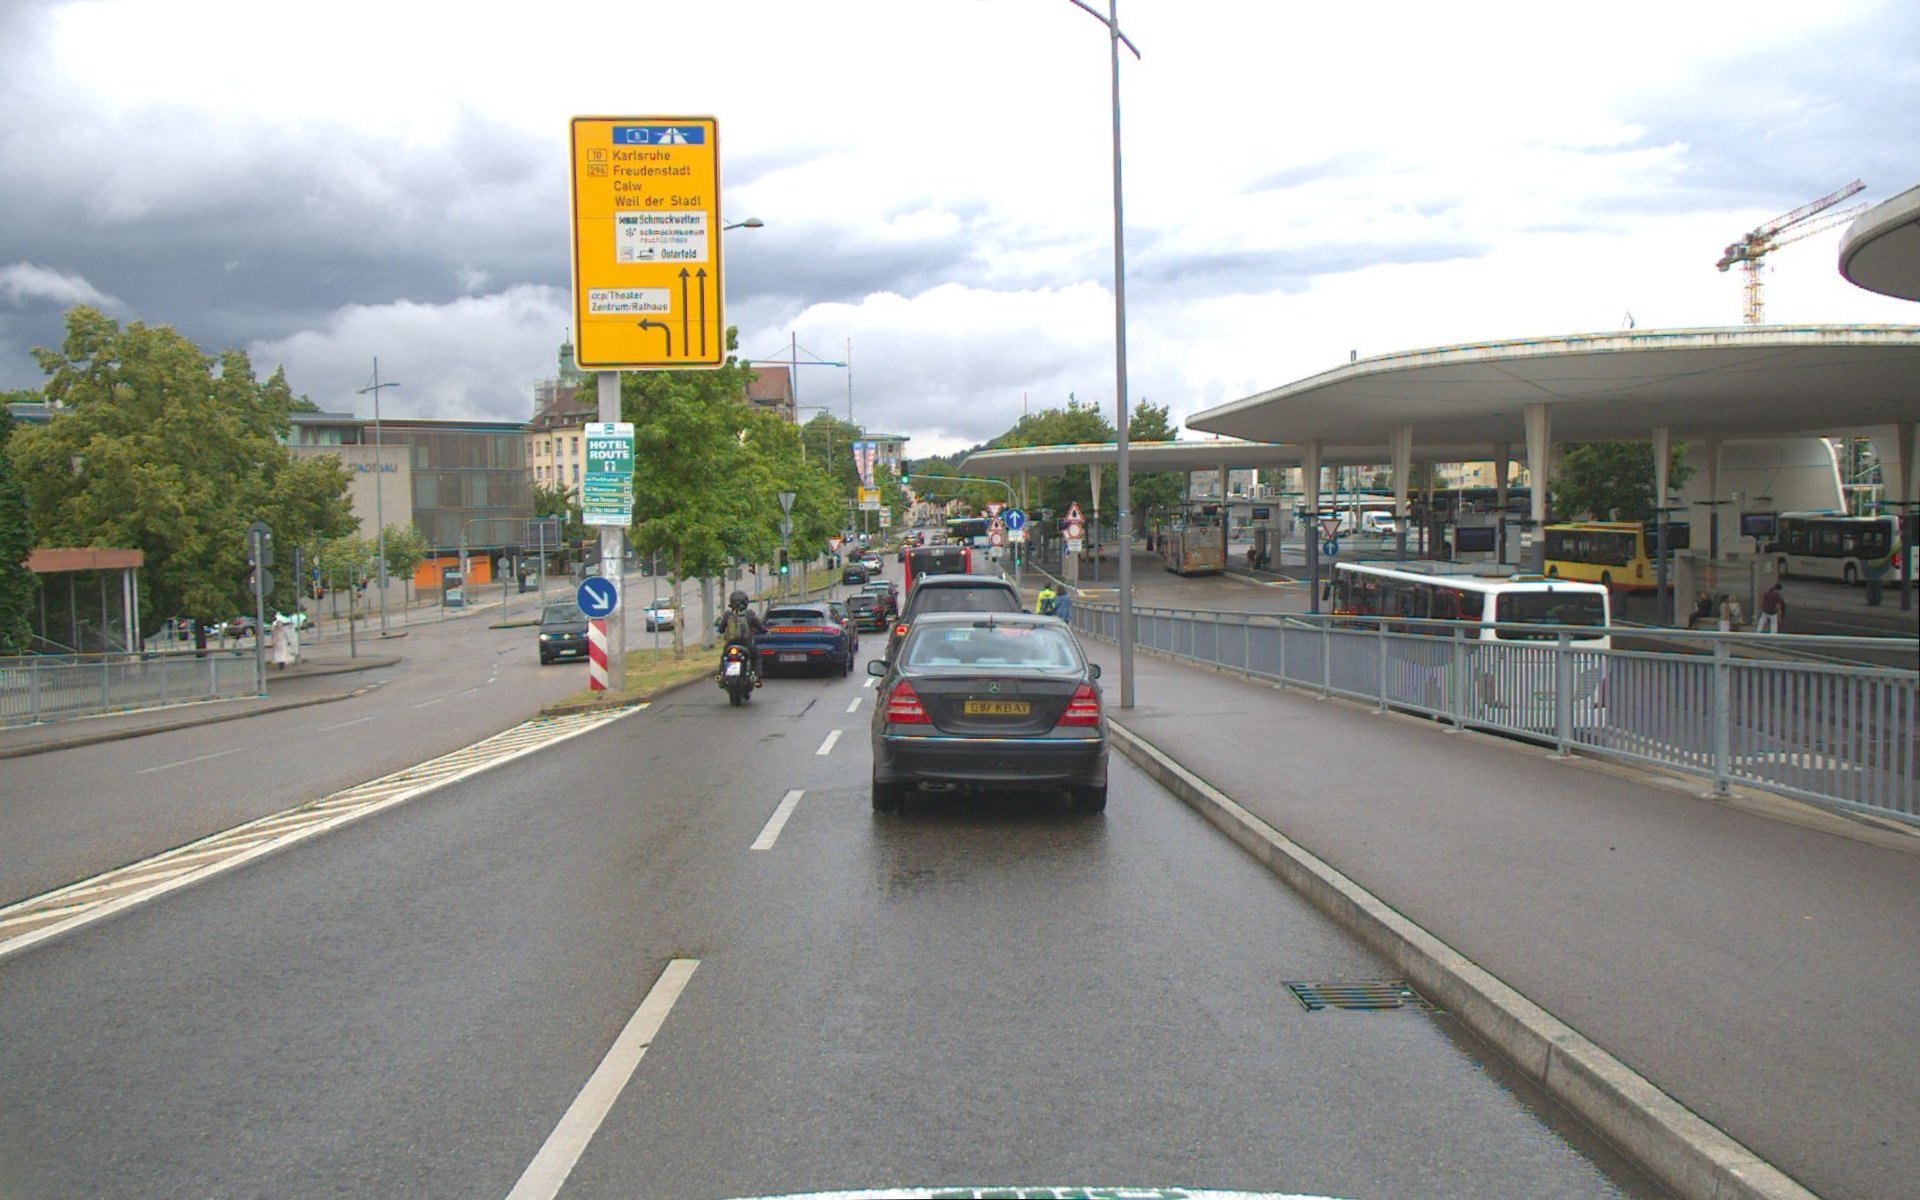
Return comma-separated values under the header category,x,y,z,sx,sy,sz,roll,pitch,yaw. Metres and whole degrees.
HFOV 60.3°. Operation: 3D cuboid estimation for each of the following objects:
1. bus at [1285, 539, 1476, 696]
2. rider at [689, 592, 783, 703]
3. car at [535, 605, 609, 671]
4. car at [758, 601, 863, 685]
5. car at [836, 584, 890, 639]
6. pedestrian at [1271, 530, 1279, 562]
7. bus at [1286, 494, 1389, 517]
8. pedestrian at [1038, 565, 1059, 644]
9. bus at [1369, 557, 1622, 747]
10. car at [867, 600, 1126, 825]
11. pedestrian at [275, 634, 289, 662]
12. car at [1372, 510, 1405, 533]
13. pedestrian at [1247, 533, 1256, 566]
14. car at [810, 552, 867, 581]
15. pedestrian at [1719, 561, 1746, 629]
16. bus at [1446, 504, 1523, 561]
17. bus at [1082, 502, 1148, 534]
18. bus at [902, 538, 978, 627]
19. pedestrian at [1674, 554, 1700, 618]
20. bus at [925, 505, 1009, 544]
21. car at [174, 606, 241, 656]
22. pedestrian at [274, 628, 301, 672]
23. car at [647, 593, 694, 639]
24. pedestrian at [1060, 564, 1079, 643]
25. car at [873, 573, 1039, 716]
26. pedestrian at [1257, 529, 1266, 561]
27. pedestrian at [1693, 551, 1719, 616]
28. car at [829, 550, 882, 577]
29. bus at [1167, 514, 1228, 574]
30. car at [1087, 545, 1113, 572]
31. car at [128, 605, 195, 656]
category,x,y,z,sx,sy,sz,roll,pitch,yaw
bus,10.470,0.274,41.948,2.594,3.291,7.069,-2,4,-4
rider,-3.192,0.645,23.784,0.862,1.497,2.197,1,1,5
car,-12.868,1.237,55.069,1.956,2.049,4.195,-2,-1,-8
car,-2.852,0.790,32.237,1.724,1.461,4.000,0,1,-1
car,-3.737,0.422,64.376,1.953,2.041,3.999,0,1,-2
pedestrian,20.079,-3.434,105.465,0.415,2.049,0.483,-1,-2,1
bus,38.023,-9.531,166.729,9.967,2.048,2.168,-1,1,-4
pedestrian,2.334,0.132,43.475,0.479,2.049,0.470,-1,-2,1
bus,11.030,0.895,34.855,2.594,3.292,7.068,-2,3,-4
car,0.301,0.725,12.538,1.670,1.444,3.727,0,0,2
pedestrian,-22.524,1.591,54.935,0.294,0.888,0.298,-1,2,2
car,39.956,-7.280,154.404,1.953,2.048,4.000,-2,2,-1
pedestrian,17.812,-3.082,100.932,0.415,2.049,0.483,-1,1,1
car,-8.814,-2.436,120.198,3.903,2.048,2.001,-1,1,3
pedestrian,23.431,-0.156,50.162,0.549,2.049,0.483,-1,1,1
bus,32.080,-4.123,101.370,2.546,3.265,6.996,-1,2,1
bus,17.540,-9.296,187.480,7.057,3.455,3.079,-2,2,-5
bus,-0.834,-0.682,65.329,2.770,3.245,10.307,0,1,-1
pedestrian,23.714,-0.459,53.948,0.532,2.049,0.579,-1,1,0
bus,0.686,-8.344,181.380,3.235,4.076,10.743,-5,5,-38
car,-35.432,1.442,77.869,1.979,2.048,3.948,3,1,-37
pedestrian,-22.370,1.661,55.015,0.634,1.433,0.531,-1,2,2
car,-13.715,0.768,78.561,1.956,2.049,4.195,-2,-1,-8
pedestrian,2.878,0.096,43.533,0.415,2.049,0.483,-1,-2,1
car,0.045,0.513,22.001,1.788,1.716,4.003,0,1,6
pedestrian,19.853,-3.616,108.909,0.415,2.049,0.483,-1,1,1
pedestrian,23.670,-0.532,52.496,0.532,2.049,0.579,-1,1,0
car,-8.286,-2.930,131.593,3.903,2.048,2.001,-1,1,3
bus,15.518,-3.562,108.569,3.112,3.663,10.516,-1,1,4
car,11.047,-3.239,130.518,1.951,2.048,4.003,-1,1,5
car,-36.958,1.404,76.533,1.979,2.048,3.948,3,1,-37
